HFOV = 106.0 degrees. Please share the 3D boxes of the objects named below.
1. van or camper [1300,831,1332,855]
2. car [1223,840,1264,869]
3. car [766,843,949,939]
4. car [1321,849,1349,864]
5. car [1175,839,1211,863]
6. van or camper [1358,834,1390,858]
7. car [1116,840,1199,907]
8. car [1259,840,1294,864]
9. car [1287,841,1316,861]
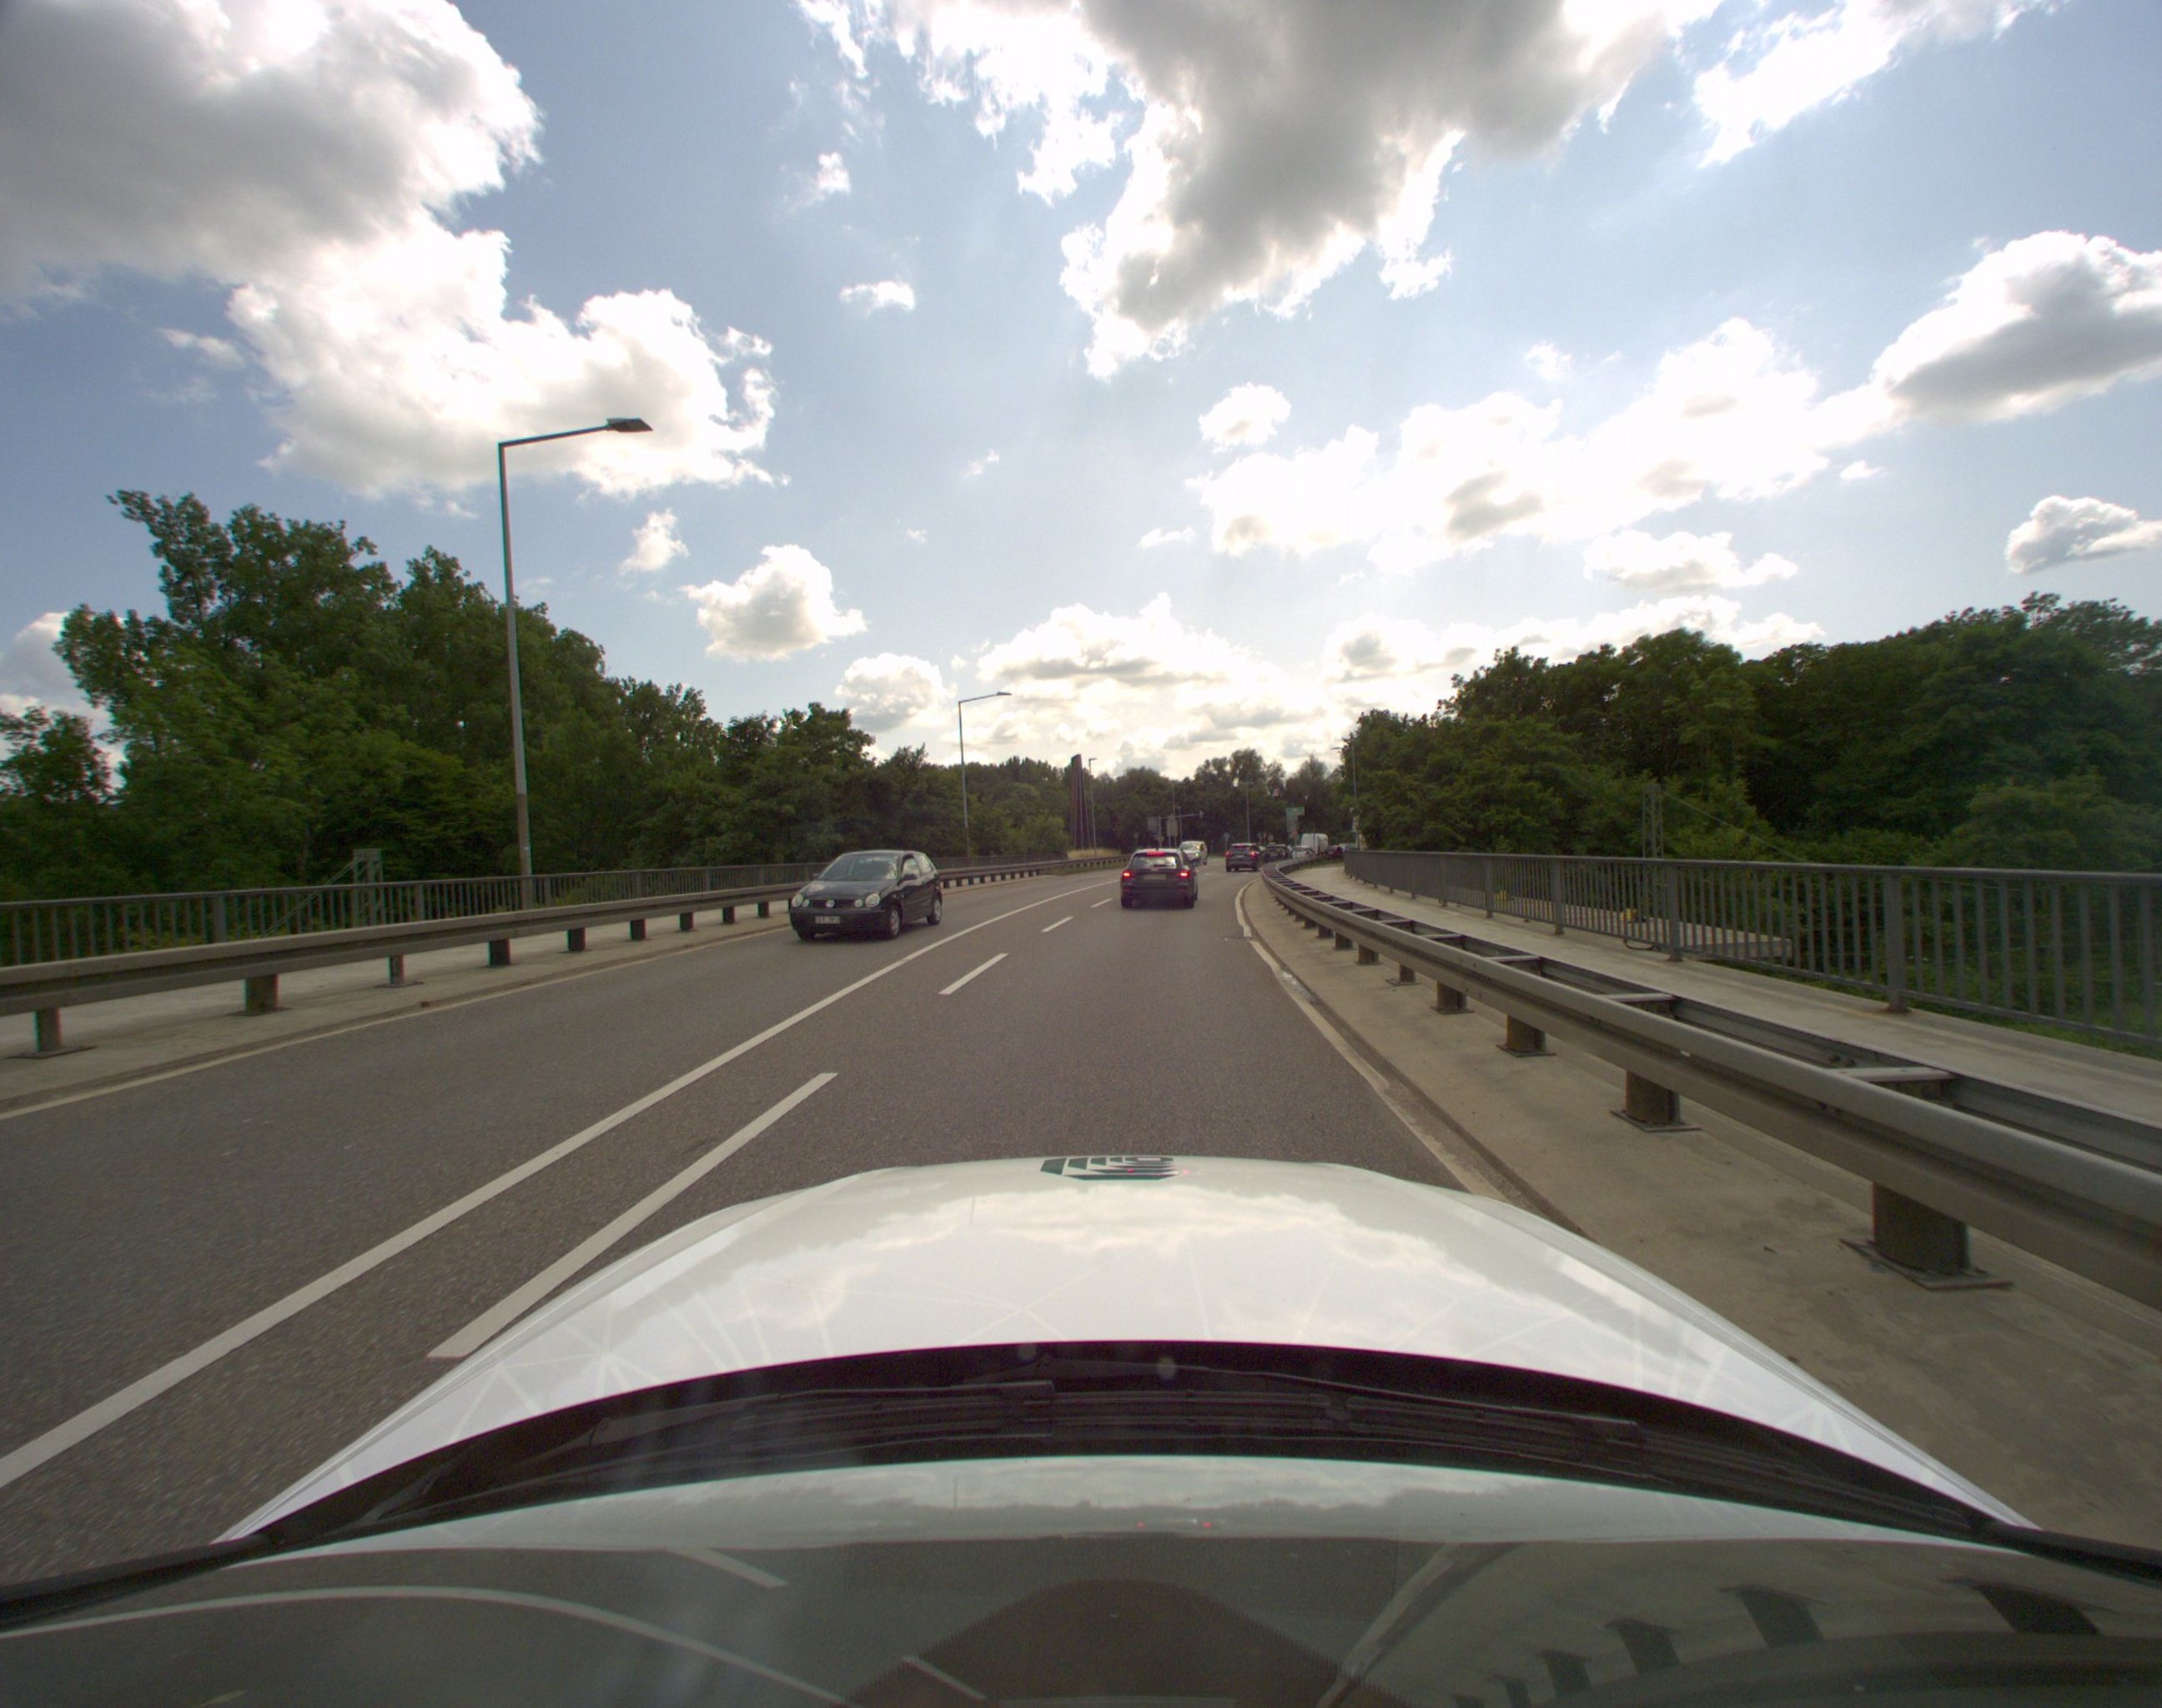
[{"bbox_3d":[24.389,-1.181,84.548,2.252,2.340,5.273,0,2,27],"label":"van or camper"},{"bbox_3d":[9.668,-0.025,48.201,1.806,1.651,3.876,0,1,20],"label":"car"},{"bbox_3d":[-3.738,0.540,14.411,1.805,1.452,3.933,0,1,6],"label":"car"},{"bbox_3d":[24.649,0.273,78.909,1.667,1.398,3.702,-1,0,33],"label":"car"},{"bbox_3d":[8.479,-0.250,61.584,1.798,1.754,4.327,0,1,20],"label":"car"},{"bbox_3d":[32.056,-0.880,88.917,1.975,2.590,4.116,1,2,40],"label":"van or camper"},{"bbox_3d":[2.080,0.415,21.042,1.817,1.491,4.219,0,1,10],"label":"car"},{"bbox_3d":[14.189,-0.179,59.042,1.718,1.651,3.878,0,1,25],"label":"car"},{"bbox_3d":[18.426,-0.234,67.808,1.718,1.651,3.878,0,0,24],"label":"car"}]
